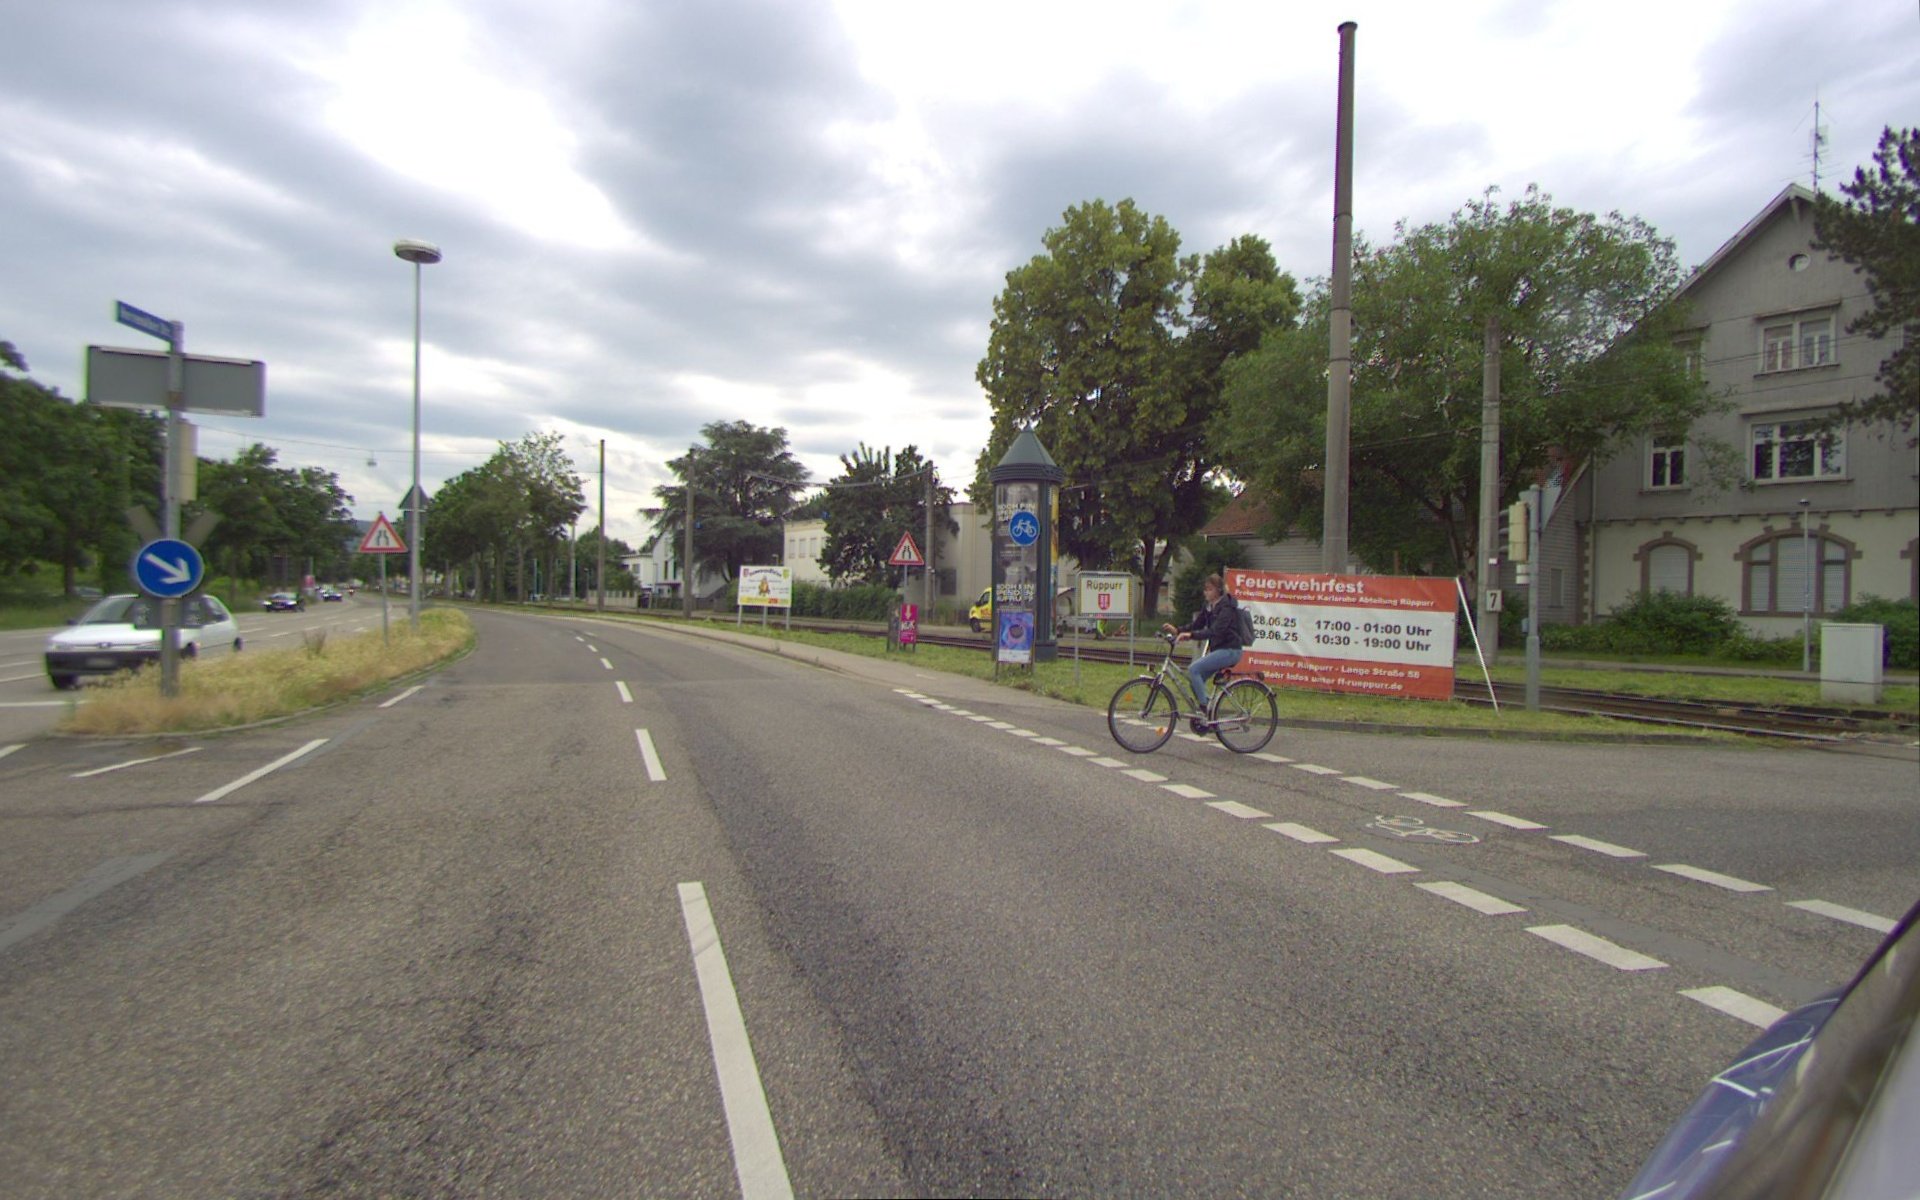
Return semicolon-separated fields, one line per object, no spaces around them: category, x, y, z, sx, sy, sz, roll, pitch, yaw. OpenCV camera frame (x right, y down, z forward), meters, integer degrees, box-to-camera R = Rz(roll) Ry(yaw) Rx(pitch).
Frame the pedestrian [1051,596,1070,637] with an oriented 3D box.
pedestrian;4.495;0.737;45.228;0.626;1.784;0.574;1;0;-43

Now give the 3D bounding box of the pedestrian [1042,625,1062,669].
pedestrian;4.048;2.059;44.607;0.704;1.863;0.604;1;-1;22

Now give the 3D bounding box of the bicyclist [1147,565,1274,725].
bicyclist;2.363;0.427;9.596;0.941;1.444;0.624;1;-4;-23

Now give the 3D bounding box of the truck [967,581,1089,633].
truck;3.164;0.272;48.875;2.553;2.322;6.416;1;0;-32

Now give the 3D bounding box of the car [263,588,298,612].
car;-46.324;-0.006;69.067;1.627;1.549;3.895;1;0;-29

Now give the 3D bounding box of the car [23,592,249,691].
car;-13.049;0.576;16.327;1.612;1.374;4.159;1;0;-21

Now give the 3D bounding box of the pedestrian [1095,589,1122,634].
pedestrian;6.266;0.495;42.662;0.855;1.878;0.681;2;-1;-20

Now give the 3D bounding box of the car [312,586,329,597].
car;-94.910;-1.286;150.164;1.960;1.677;4.004;0;1;-30

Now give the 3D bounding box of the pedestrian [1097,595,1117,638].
pedestrian;6.324;0.703;43.514;0.626;1.784;0.574;1;0;-43

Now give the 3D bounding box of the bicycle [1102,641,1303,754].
bicycle;2.332;0.923;9.640;1.987;0.993;0.384;3;-1;-23

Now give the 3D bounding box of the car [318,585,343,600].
car;-69.718;-0.858;112.060;1.723;1.594;4.008;1;0;-23
